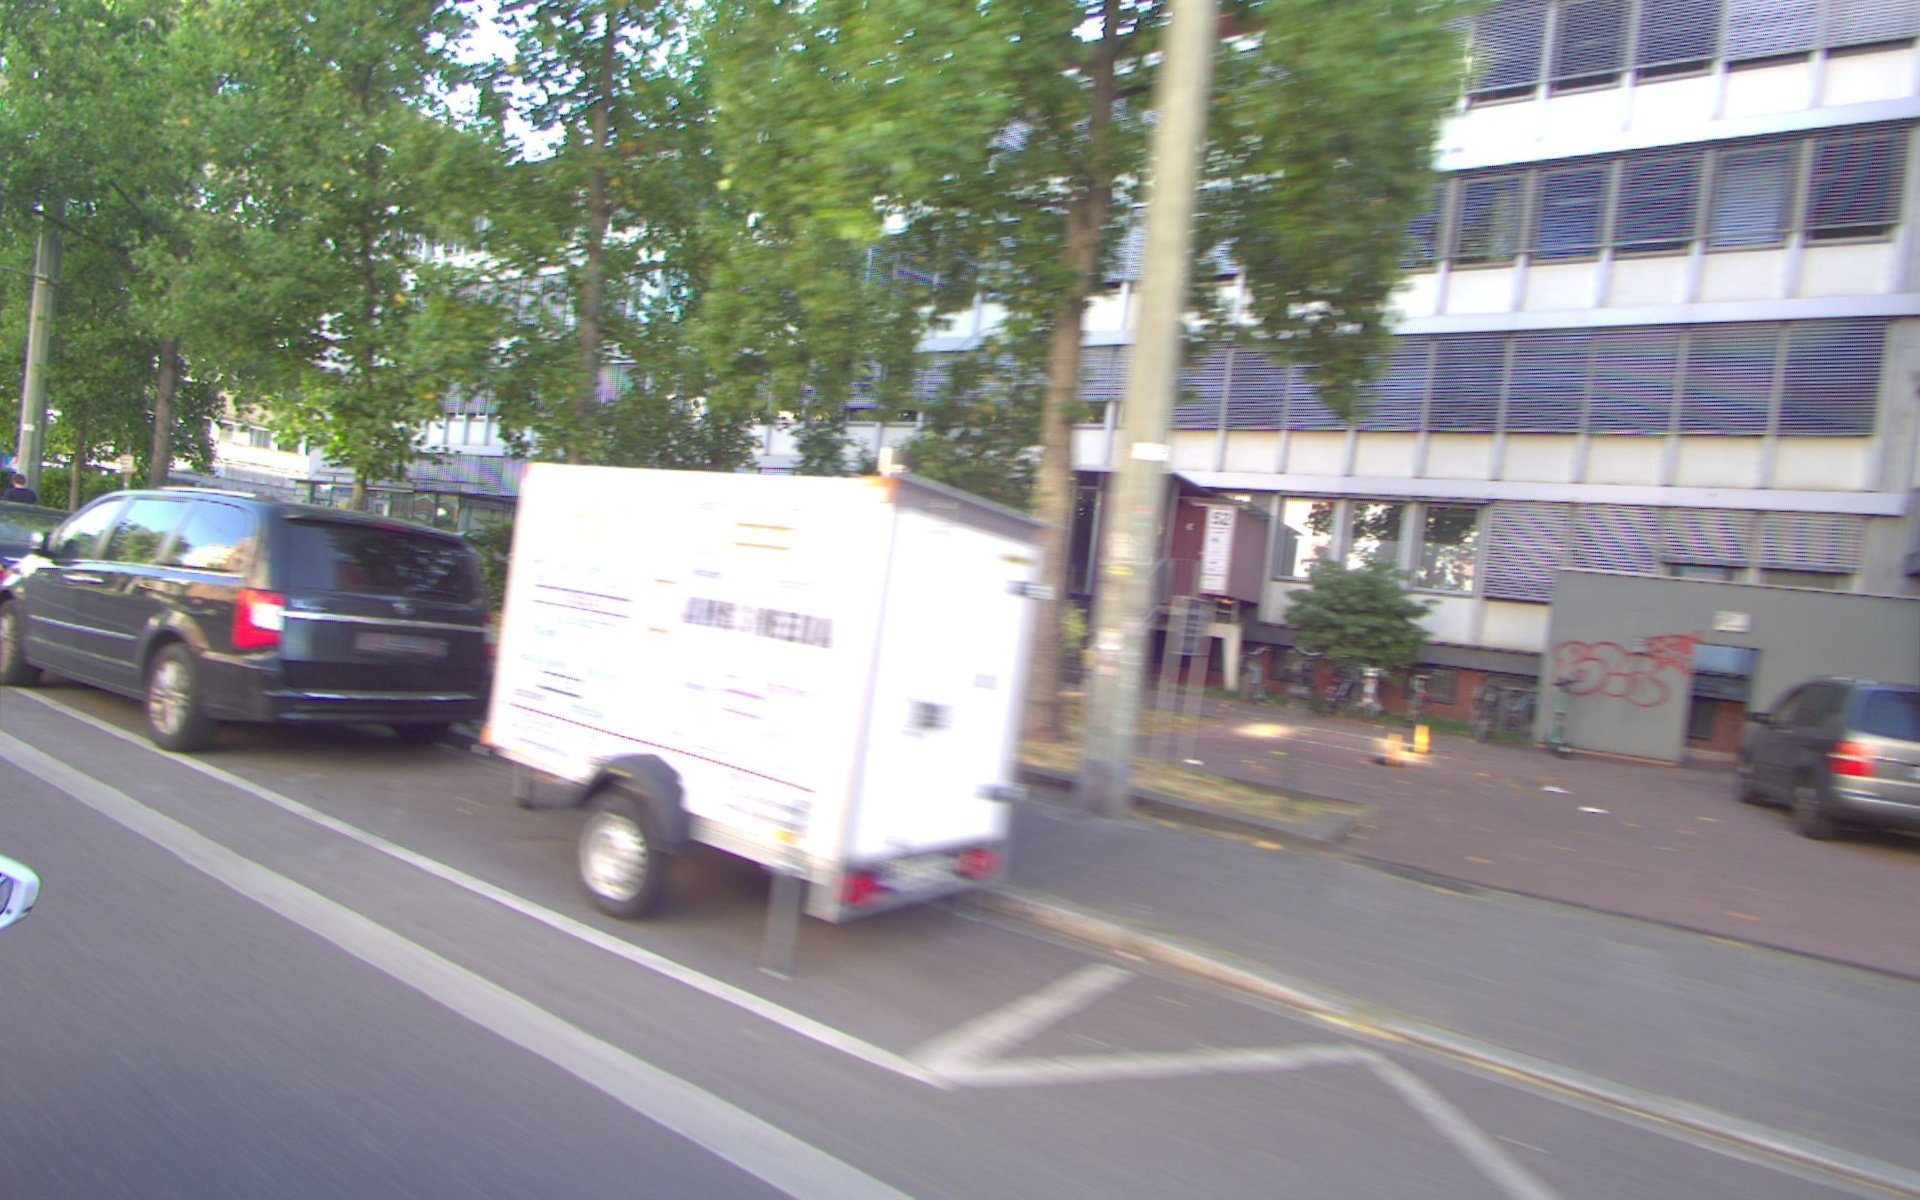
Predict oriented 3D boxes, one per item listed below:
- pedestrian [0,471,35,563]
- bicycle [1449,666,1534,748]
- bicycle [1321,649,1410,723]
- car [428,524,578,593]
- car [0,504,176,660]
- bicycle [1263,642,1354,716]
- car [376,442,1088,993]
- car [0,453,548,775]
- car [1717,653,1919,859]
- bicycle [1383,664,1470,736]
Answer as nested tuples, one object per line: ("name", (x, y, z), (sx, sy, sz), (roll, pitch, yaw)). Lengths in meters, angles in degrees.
("pedestrian", (-18.567, -1.626, 19.752), (0.495, 1.733, 0.448), (4, 5, -39))
("bicycle", (9.233, 1.803, 17.418), (0.849, 1.187, 2.316), (8, 3, 36))
("bicycle", (7.497, 1.536, 18.537), (0.849, 1.168, 2.316), (8, 3, 36))
("car", (-13.734, -1.255, 30.194), (4.362, 1.514, 1.867), (8, 2, 31))
("car", (-10.866, -0.361, 11.268), (4.598, 1.444, 1.718), (6, -1, 32))
("bicycle", (6.590, 1.442, 18.928), (0.849, 1.205, 2.316), (8, 3, 36))
("car", (-1.407, 0.369, 5.644), (3.648, 2.145, 1.706), (6, 0, 35))
("car", (-5.891, -0.028, 8.114), (5.095, 1.809, 1.953), (7, -1, 31))
("car", (9.819, 1.576, 10.869), (1.746, 1.671, 4.033), (7, 2, 27))
("bicycle", (8.378, 1.754, 18.011), (0.849, 1.057, 2.371), (8, 3, 36))
